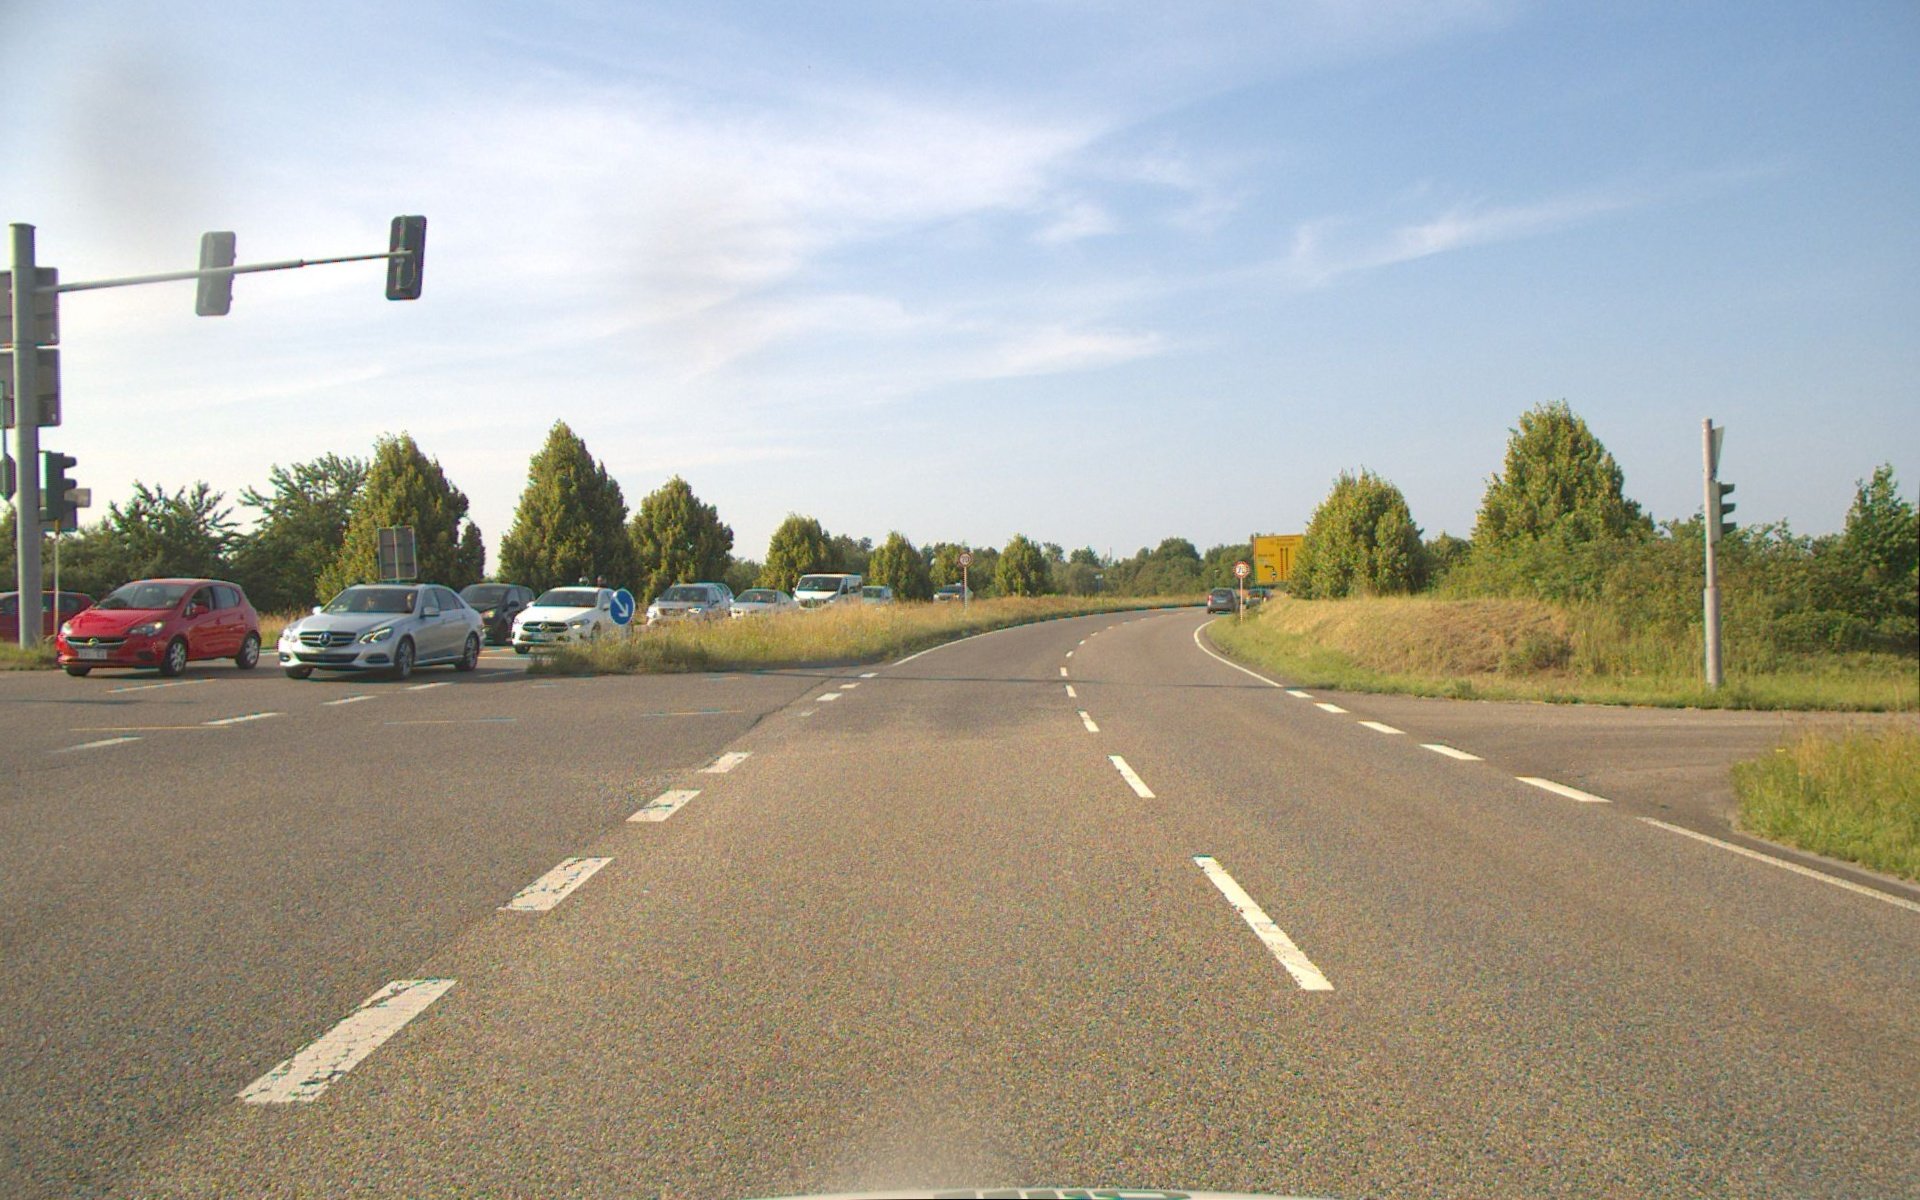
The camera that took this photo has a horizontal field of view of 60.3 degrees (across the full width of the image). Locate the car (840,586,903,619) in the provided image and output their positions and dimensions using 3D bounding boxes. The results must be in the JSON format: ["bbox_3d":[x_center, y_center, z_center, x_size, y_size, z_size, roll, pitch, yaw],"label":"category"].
[{"bbox_3d":[-3.876,0.110,73.184,1.748,1.410,4.055,-1,0,13],"label":"car"}]

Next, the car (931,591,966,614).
[{"bbox_3d":[-0.719,0.166,104.430,1.375,1.426,3.425,-1,0,13],"label":"car"}]

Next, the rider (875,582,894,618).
[{"bbox_3d":[-4.282,0.005,93.653,0.849,2.049,0.772,0,0,15],"label":"rider"}]

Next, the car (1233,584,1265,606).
[{"bbox_3d":[21.478,-0.379,122.730,1.771,1.593,4.533,0,0,17],"label":"car"}]

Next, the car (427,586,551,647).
[{"bbox_3d":[-11.859,0.397,41.922,1.748,1.458,4.053,-1,0,3],"label":"car"}]

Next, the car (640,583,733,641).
[{"bbox_3d":[-7.789,0.324,47.430,1.748,1.596,4.053,-1,0,3],"label":"car"}]

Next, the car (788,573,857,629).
[{"bbox_3d":[-5.340,0.035,64.779,1.884,2.114,4.246,-1,0,7],"label":"car"}]

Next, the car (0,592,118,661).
[{"bbox_3d":[-19.535,0.525,33.494,1.629,1.350,4.203,0,0,32],"label":"car"}]

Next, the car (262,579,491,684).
[{"bbox_3d":[-9.150,0.451,26.384,1.748,1.514,4.653,-1,0,4],"label":"car"}]

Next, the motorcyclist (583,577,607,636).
[{"bbox_3d":[-11.518,0.200,52.215,0.649,1.849,0.605,0,0,-4],"label":"motorcyclist"}]

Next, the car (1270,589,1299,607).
[{"bbox_3d":[27.702,-0.196,141.209,1.736,1.518,3.985,0,0,21],"label":"car"}]

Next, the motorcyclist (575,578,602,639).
[{"bbox_3d":[-10.930,0.249,48.667,0.649,1.778,0.605,0,0,-4],"label":"motorcyclist"}]

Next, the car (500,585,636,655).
[{"bbox_3d":[-8.639,0.416,36.811,1.748,1.458,4.311,-1,0,4],"label":"car"}]

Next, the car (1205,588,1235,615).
[{"bbox_3d":[16.371,0.094,104.292,1.746,1.633,4.199,0,-1,8],"label":"car"}]

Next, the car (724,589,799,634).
[{"bbox_3d":[-6.525,0.355,54.801,1.748,1.410,4.053,-1,0,3],"label":"car"}]

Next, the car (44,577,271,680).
[{"bbox_3d":[-12.688,0.416,26.410,1.685,1.514,3.805,-1,0,1],"label":"car"}]
